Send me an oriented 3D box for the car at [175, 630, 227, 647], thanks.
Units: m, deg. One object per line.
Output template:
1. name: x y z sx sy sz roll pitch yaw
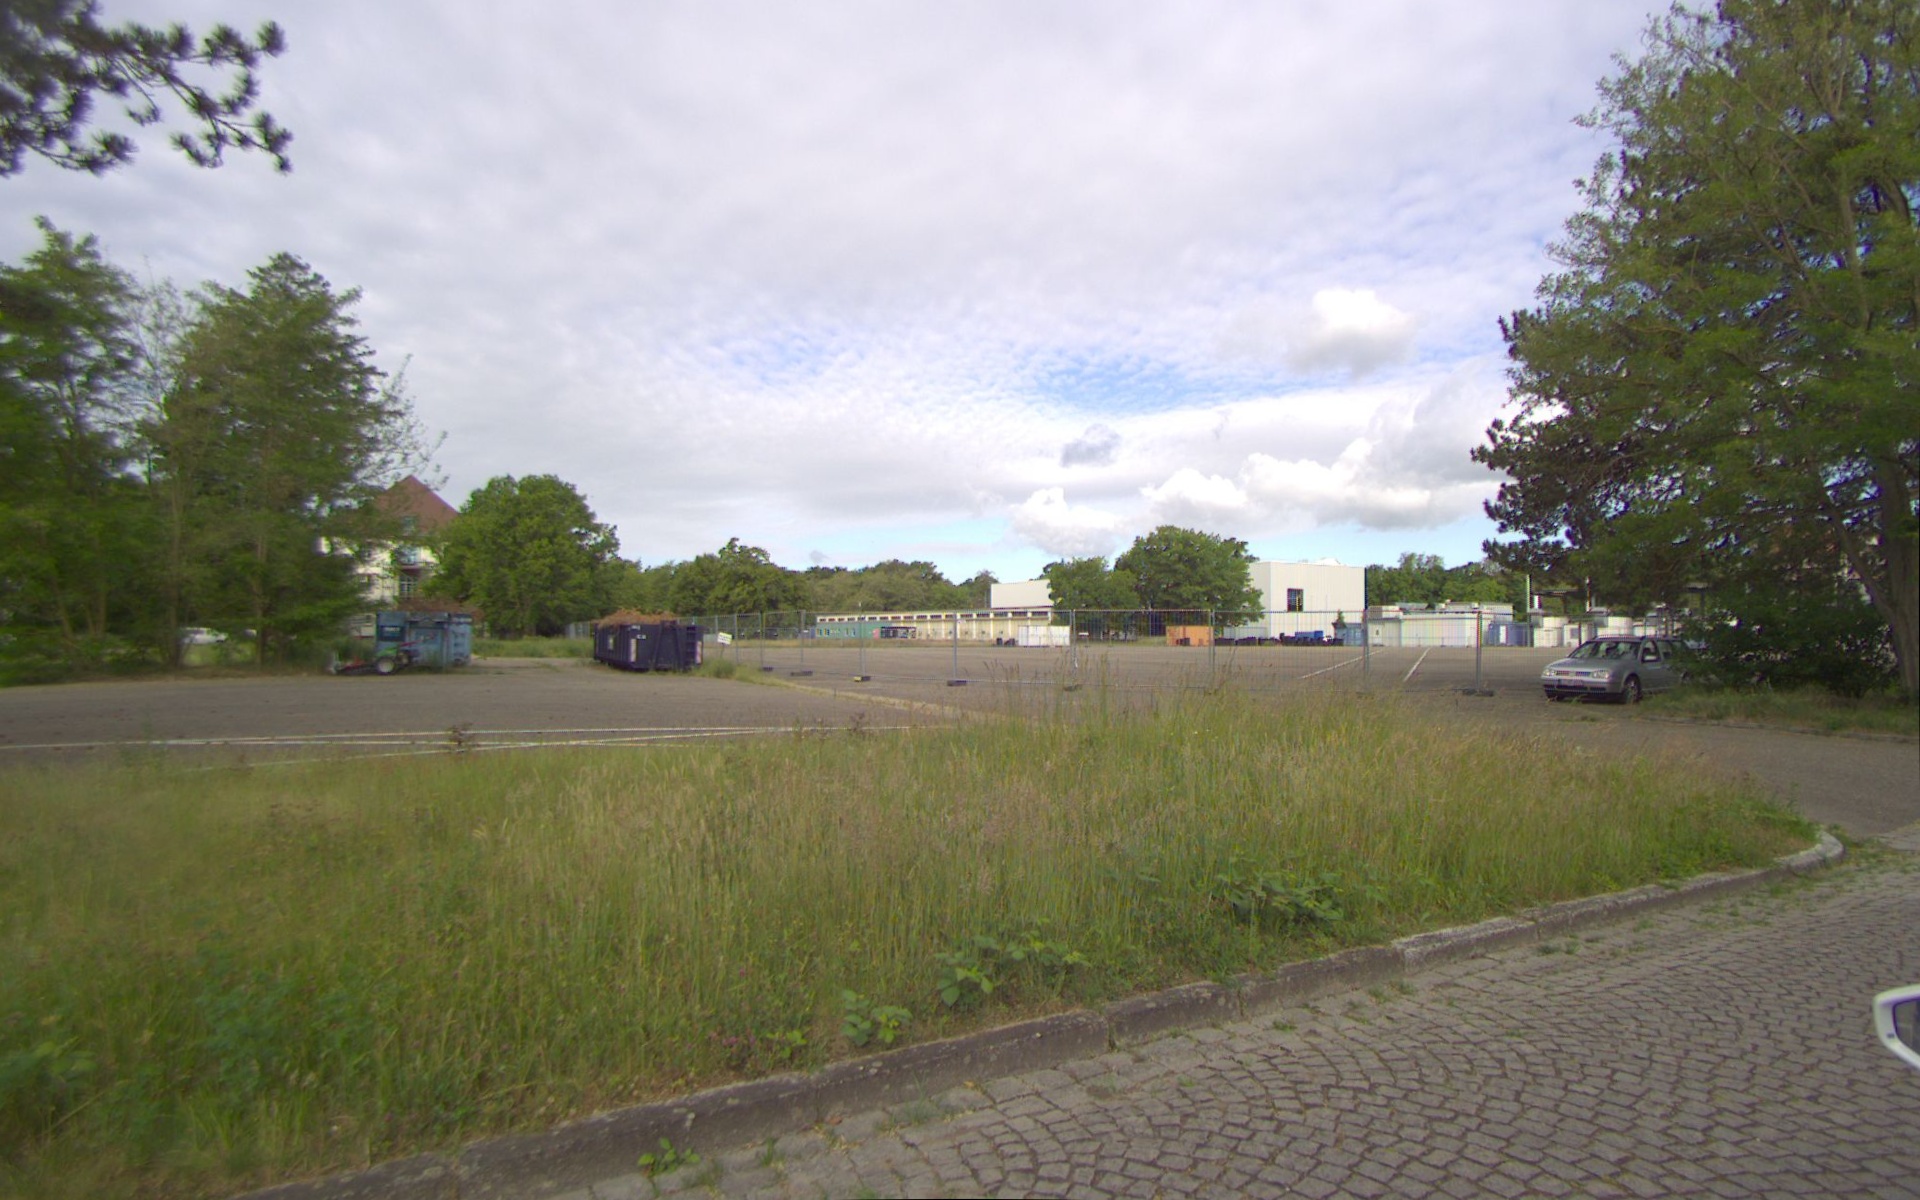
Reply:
1. car: -82.174 4.134 108.789 4.237 1.746 1.817 1 0 -29

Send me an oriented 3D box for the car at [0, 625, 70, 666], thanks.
1. car: -35.620 1.684 37.299 3.553 1.495 1.666 1 -2 -32

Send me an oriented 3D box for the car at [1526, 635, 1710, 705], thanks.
1. car: 14.938 1.512 22.752 4.372 1.435 1.815 1 -2 -32

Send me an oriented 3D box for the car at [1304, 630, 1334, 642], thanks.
1. car: 53.270 5.348 149.222 1.807 1.654 4.089 1 -2 -28

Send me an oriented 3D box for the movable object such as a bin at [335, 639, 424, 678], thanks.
1. movable object such as a bin: -15.773 1.575 27.299 1.940 0.982 1.433 1 -2 -37

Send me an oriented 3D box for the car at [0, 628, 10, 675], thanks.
1. car: -32.152 1.623 31.184 3.553 1.495 1.666 1 -2 -32
